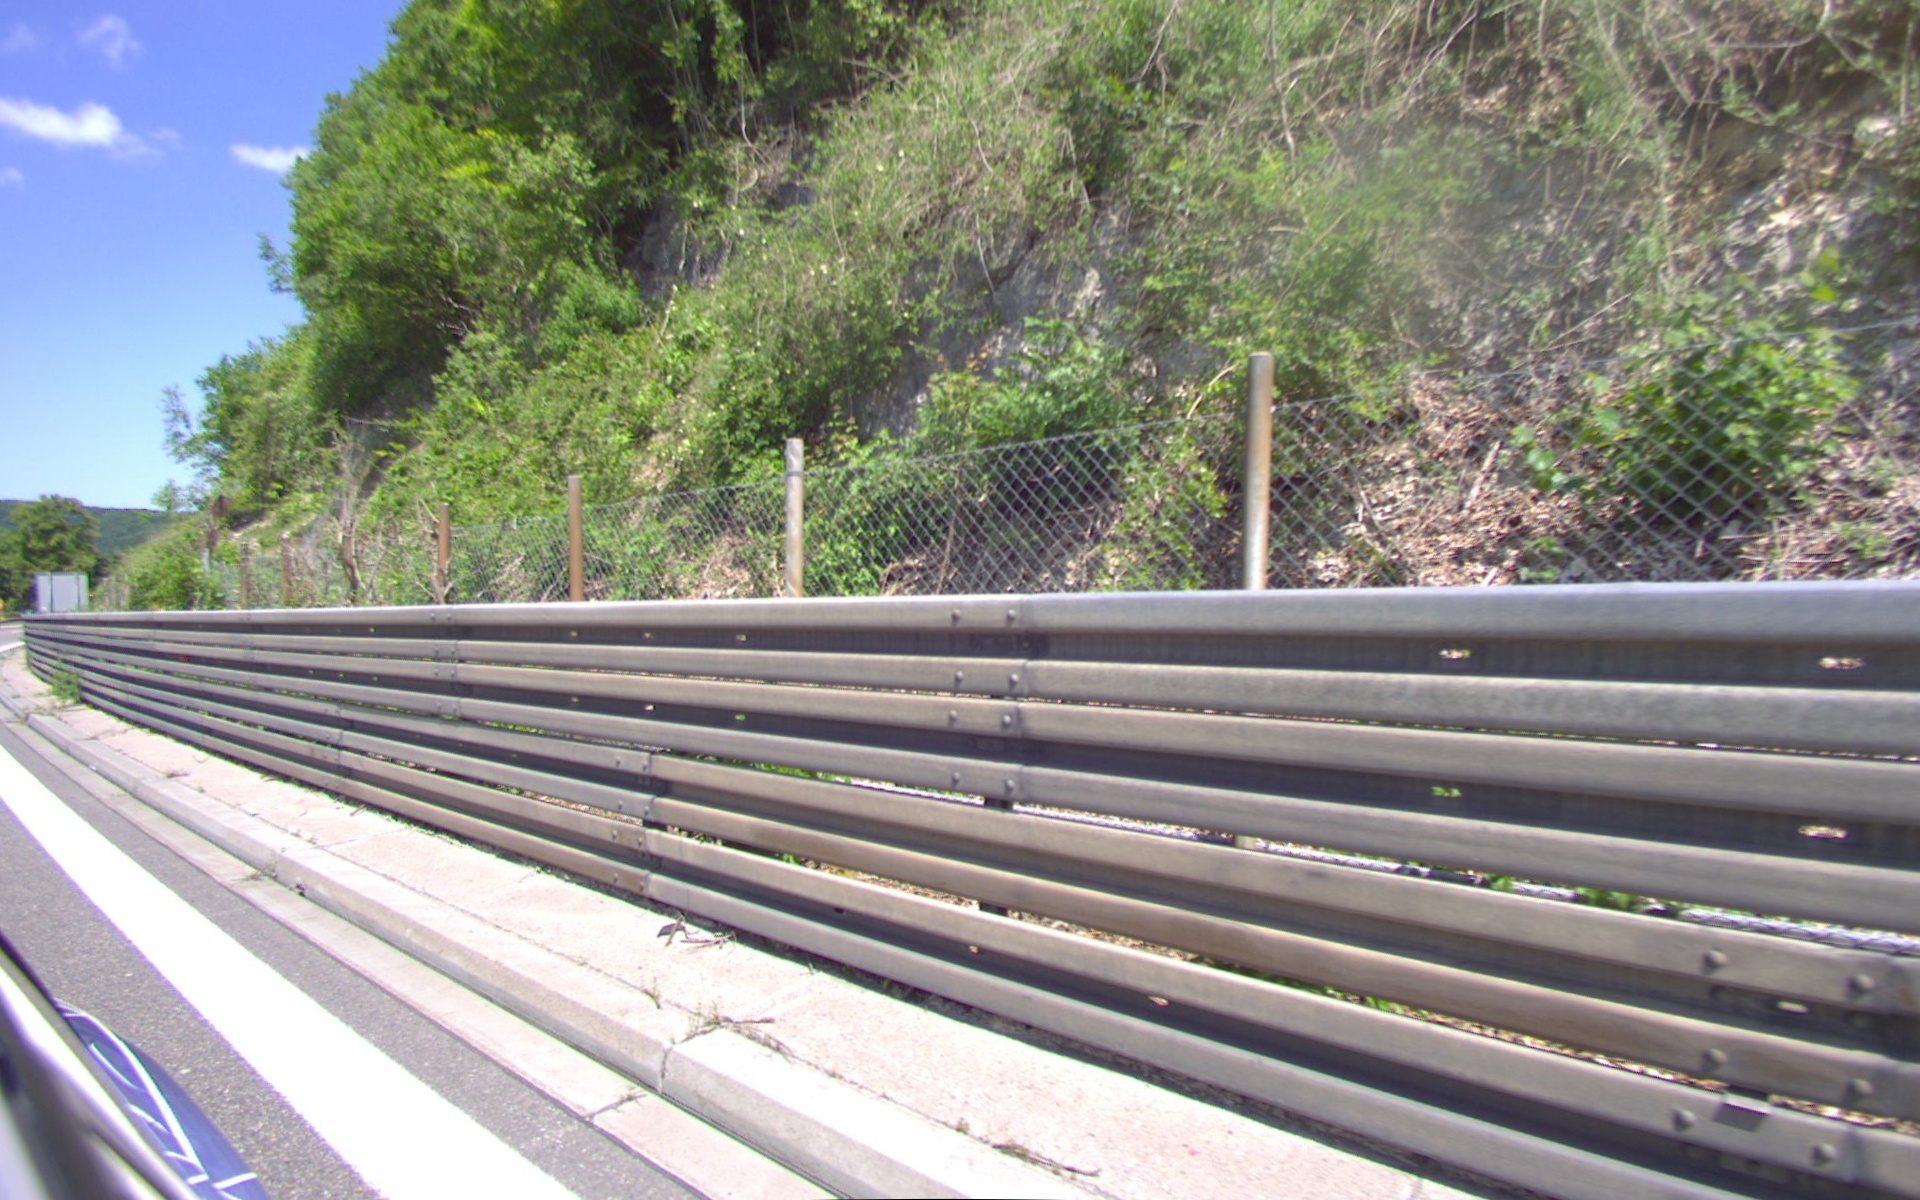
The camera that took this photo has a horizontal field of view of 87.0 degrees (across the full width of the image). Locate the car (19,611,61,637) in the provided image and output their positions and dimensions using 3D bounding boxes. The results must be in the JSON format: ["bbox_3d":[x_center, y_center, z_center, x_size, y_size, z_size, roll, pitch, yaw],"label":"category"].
[{"bbox_3d":[-75.599,1.976,83.195,1.966,2.029,4.011,0,-1,-33],"label":"car"}]
